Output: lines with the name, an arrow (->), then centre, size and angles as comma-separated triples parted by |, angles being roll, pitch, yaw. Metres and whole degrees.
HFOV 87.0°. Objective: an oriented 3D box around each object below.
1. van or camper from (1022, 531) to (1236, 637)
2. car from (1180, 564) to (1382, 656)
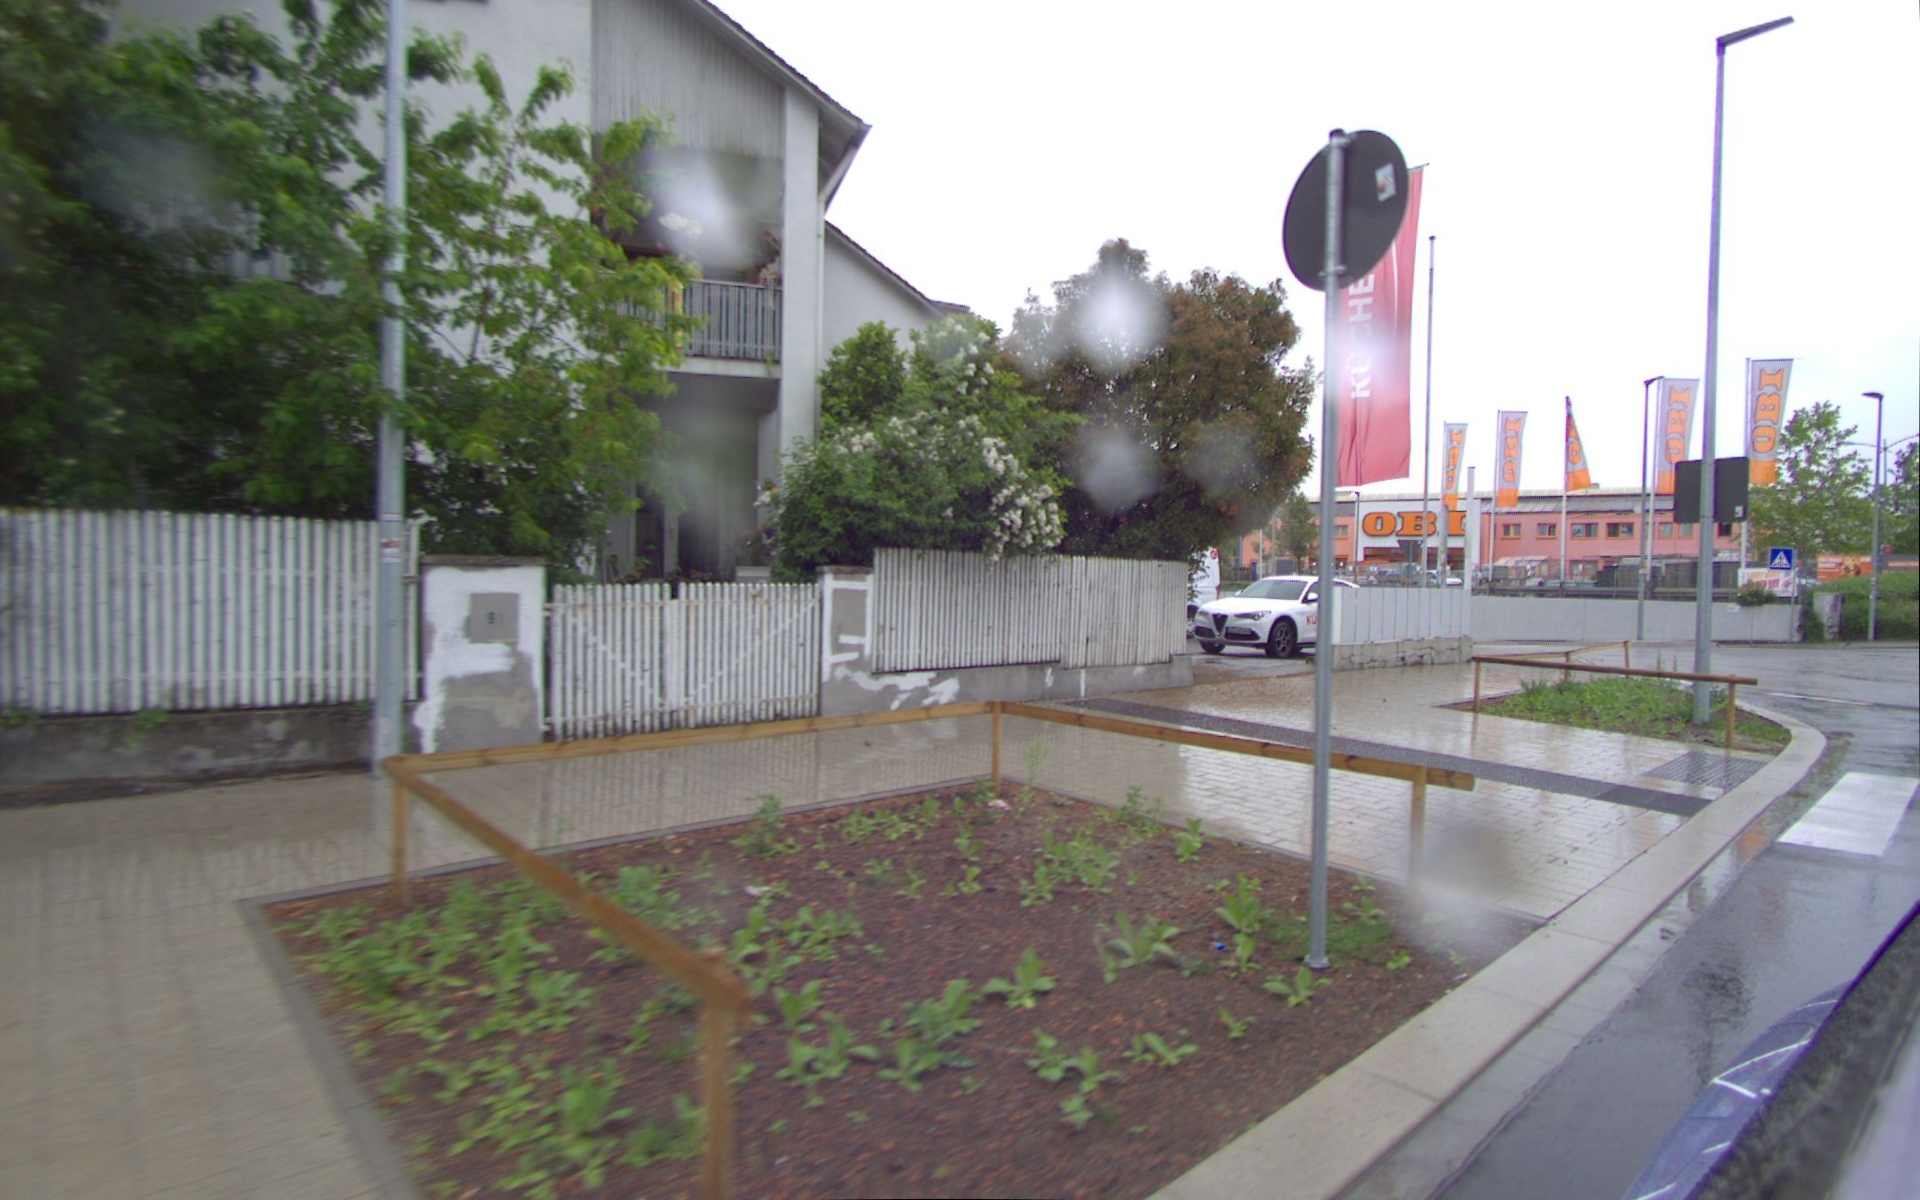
van or camper -> 4.467, -0.378, 26.736 | 5.153, 2.572, 2.134 | 1, 0, -22
car -> 6.632, 0.187, 20.759 | 4.091, 1.712, 1.847 | 1, 1, -36
